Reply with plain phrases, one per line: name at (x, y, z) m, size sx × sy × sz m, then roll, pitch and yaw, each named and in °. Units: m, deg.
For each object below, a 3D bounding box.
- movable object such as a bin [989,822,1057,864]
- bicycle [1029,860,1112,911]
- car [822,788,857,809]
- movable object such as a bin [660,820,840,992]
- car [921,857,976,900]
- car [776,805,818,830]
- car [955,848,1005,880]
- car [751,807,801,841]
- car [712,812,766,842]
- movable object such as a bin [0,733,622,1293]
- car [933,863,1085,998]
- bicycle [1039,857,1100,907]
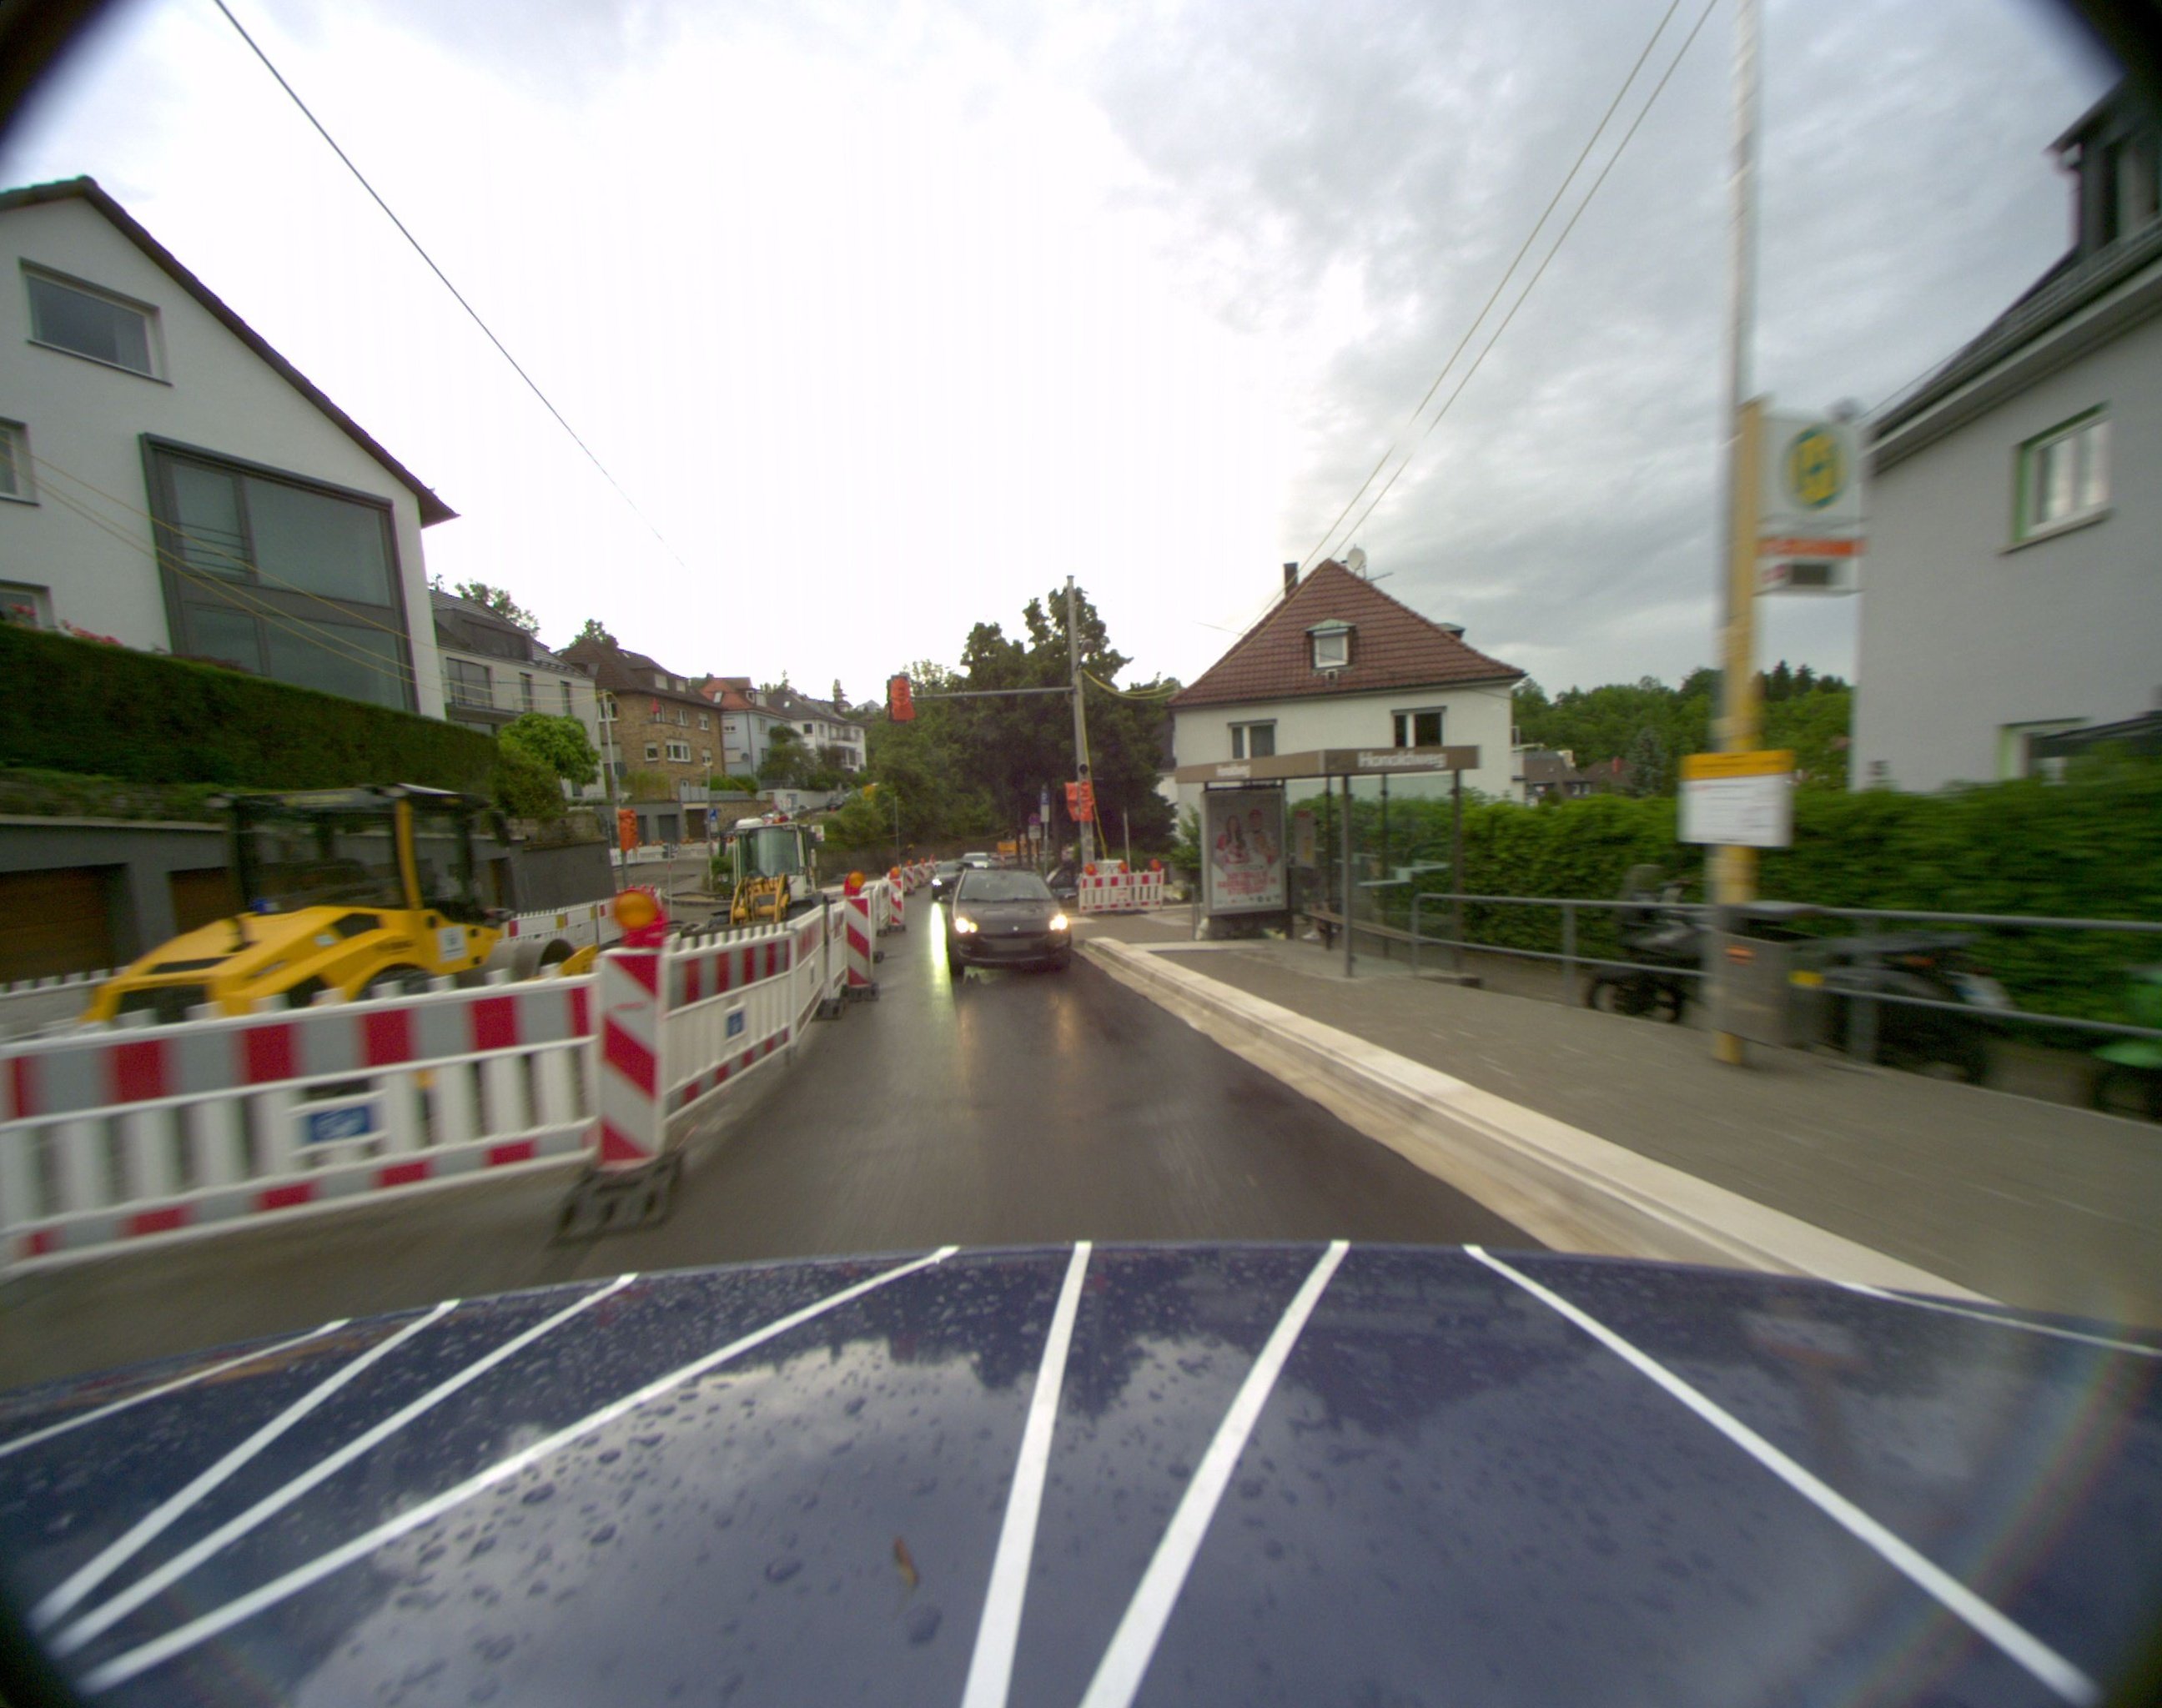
movable object such as a bin at (-5.492, -1.094, 73.497) m, size 3.324 × 3.818 × 7.213 m, roll -1°, pitch 2°, yaw 24°
bicycle at (-0.303, 0.885, 21.951) m, size 2.238 × 1.354 × 0.808 m, roll -2°, pitch 2°, yaw -18°
car at (-23.811, -5.512, 75.013) m, size 1.859 × 1.629 × 3.956 m, roll -1°, pitch 11°, yaw 3°
movable object such as a bin at (-6.486, 0.752, 15.743) m, size 2.093 × 2.823 × 5.668 m, roll -3°, pitch 3°, yaw -11°
car at (-5.296, 0.918, 30.043) m, size 1.845 × 1.395 × 4.065 m, roll -2°, pitch 2°, yaw -14°
car at (-24.065, -3.166, 64.585) m, size 1.859 × 1.629 × 3.957 m, roll -1°, pitch 10°, yaw 3°
car at (-5.980, 0.566, 45.625) m, size 1.999 × 1.699 × 4.574 m, roll -1°, pitch 2°, yaw 5°
car at (-24.159, -2.416, 60.344) m, size 1.900 × 2.070 × 4.422 m, roll -1°, pitch 10°, yaw 3°
car at (-24.669, -1.967, 54.924) m, size 1.859 × 1.629 × 3.827 m, roll -1°, pitch 10°, yaw 3°
movable object such as a bin at (-6.327, 0.846, 6.561) m, size 2.093 × 2.821 × 5.671 m, roll -3°, pitch 0°, yaw -11°
car at (-1.332, 0.975, 11.847) m, size 1.676 × 1.458 × 4.709 m, roll -2°, pitch 2°, yaw -13°
bicycle at (-0.341, 0.823, 22.545) m, size 1.697 × 1.337 × 0.418 m, roll -4°, pitch 0°, yaw -17°
